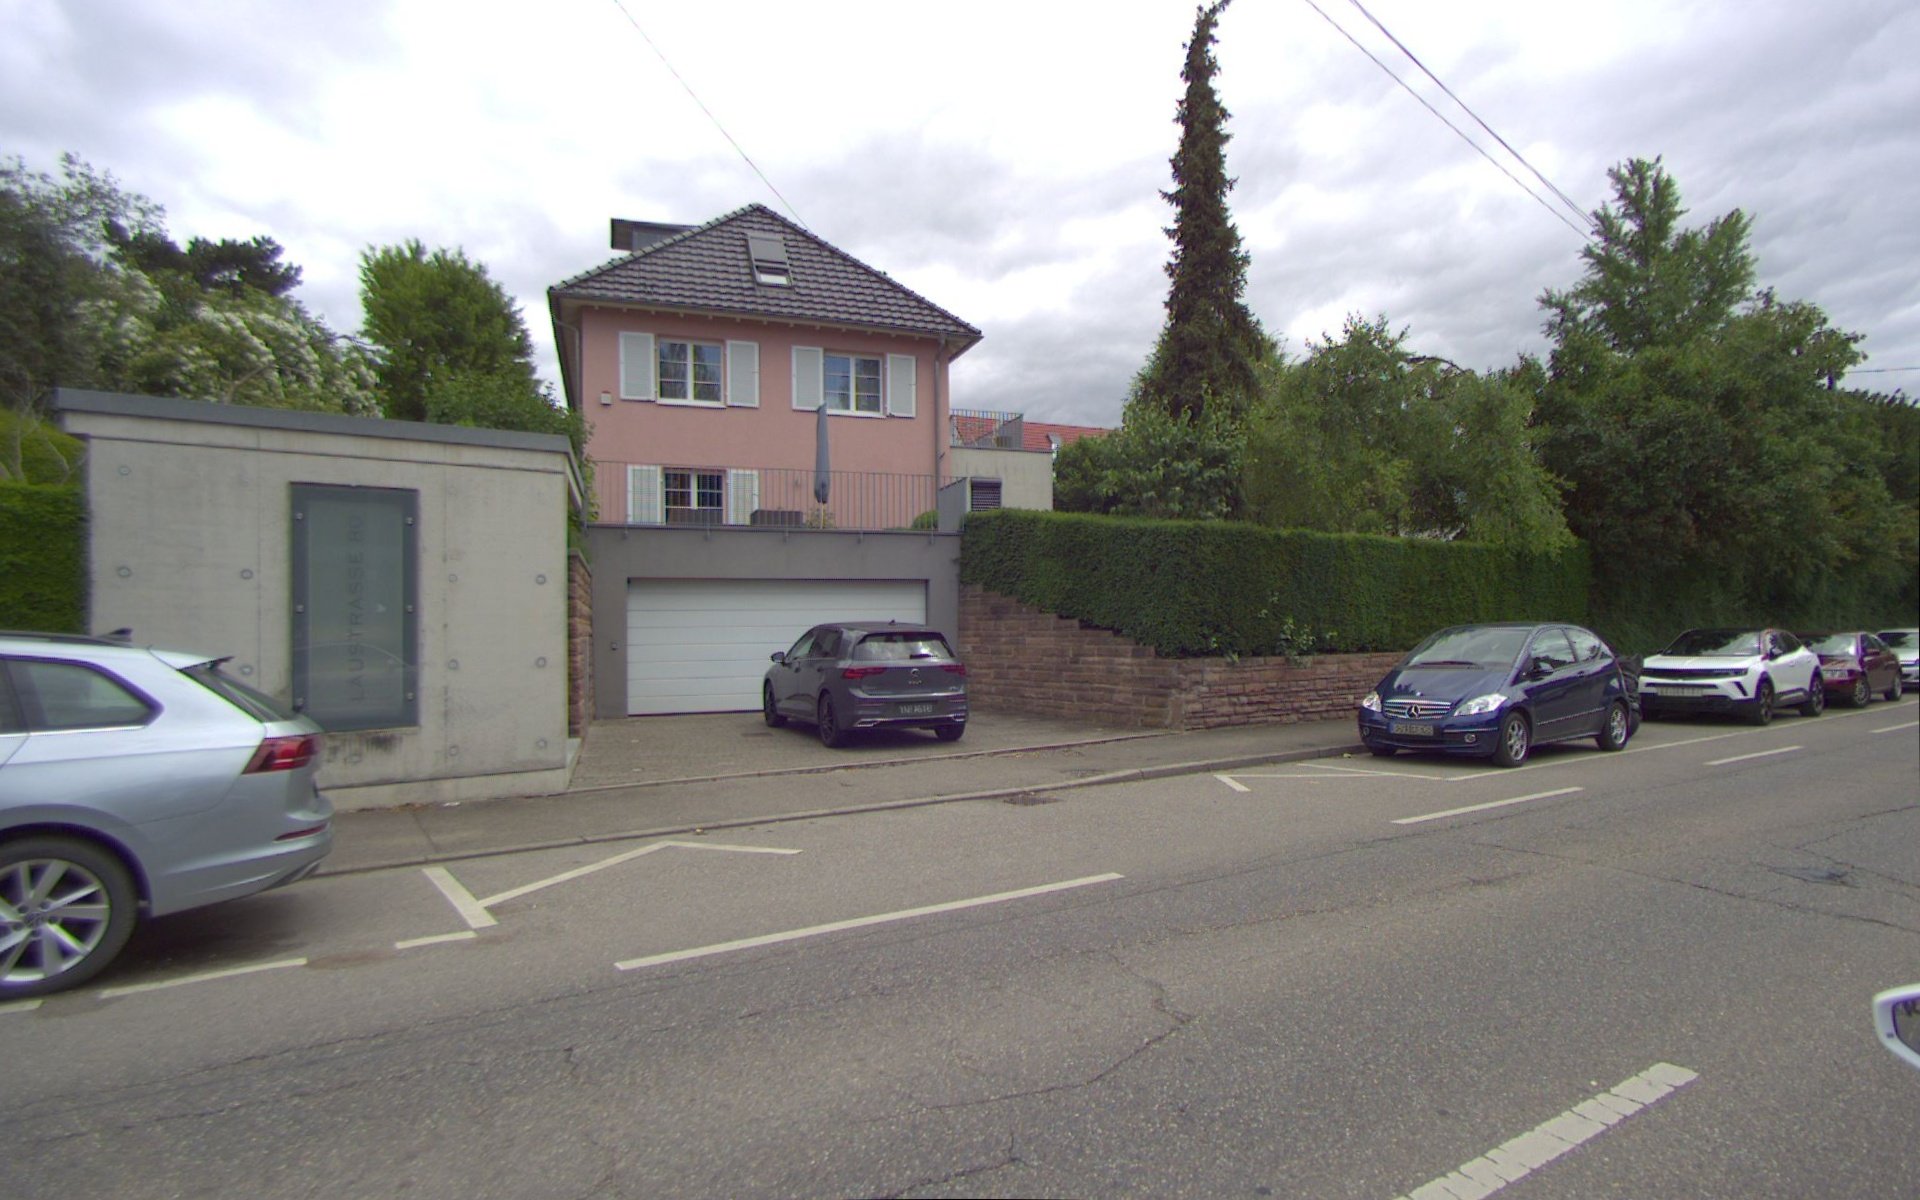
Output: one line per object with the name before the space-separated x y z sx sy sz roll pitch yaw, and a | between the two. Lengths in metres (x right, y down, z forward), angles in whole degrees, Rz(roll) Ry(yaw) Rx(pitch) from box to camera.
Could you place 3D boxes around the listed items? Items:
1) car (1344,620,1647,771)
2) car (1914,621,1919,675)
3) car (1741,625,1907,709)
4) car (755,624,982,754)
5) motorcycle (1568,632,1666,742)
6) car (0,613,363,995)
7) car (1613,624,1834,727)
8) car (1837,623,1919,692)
car | 6.625 1.077 12.315 3.932 1.576 1.668 1 -4 -35
car | 27.928 1.275 27.601 3.961 1.457 1.767 1 -2 -36
car | 17.321 1.280 20.088 3.873 1.497 1.658 1 -3 -36
car | -1.320 1.023 12.979 1.825 1.409 3.578 0 -2 -25
motorcycle | 9.407 1.192 14.345 0.876 1.373 2.296 -4 -2 39
car | -5.031 0.838 4.064 4.371 1.474 1.797 1 -4 -36
car | 12.948 1.198 16.970 3.988 1.514 1.877 1 -3 -36
car | 22.453 1.297 23.671 4.386 1.508 1.659 1 -3 -35
